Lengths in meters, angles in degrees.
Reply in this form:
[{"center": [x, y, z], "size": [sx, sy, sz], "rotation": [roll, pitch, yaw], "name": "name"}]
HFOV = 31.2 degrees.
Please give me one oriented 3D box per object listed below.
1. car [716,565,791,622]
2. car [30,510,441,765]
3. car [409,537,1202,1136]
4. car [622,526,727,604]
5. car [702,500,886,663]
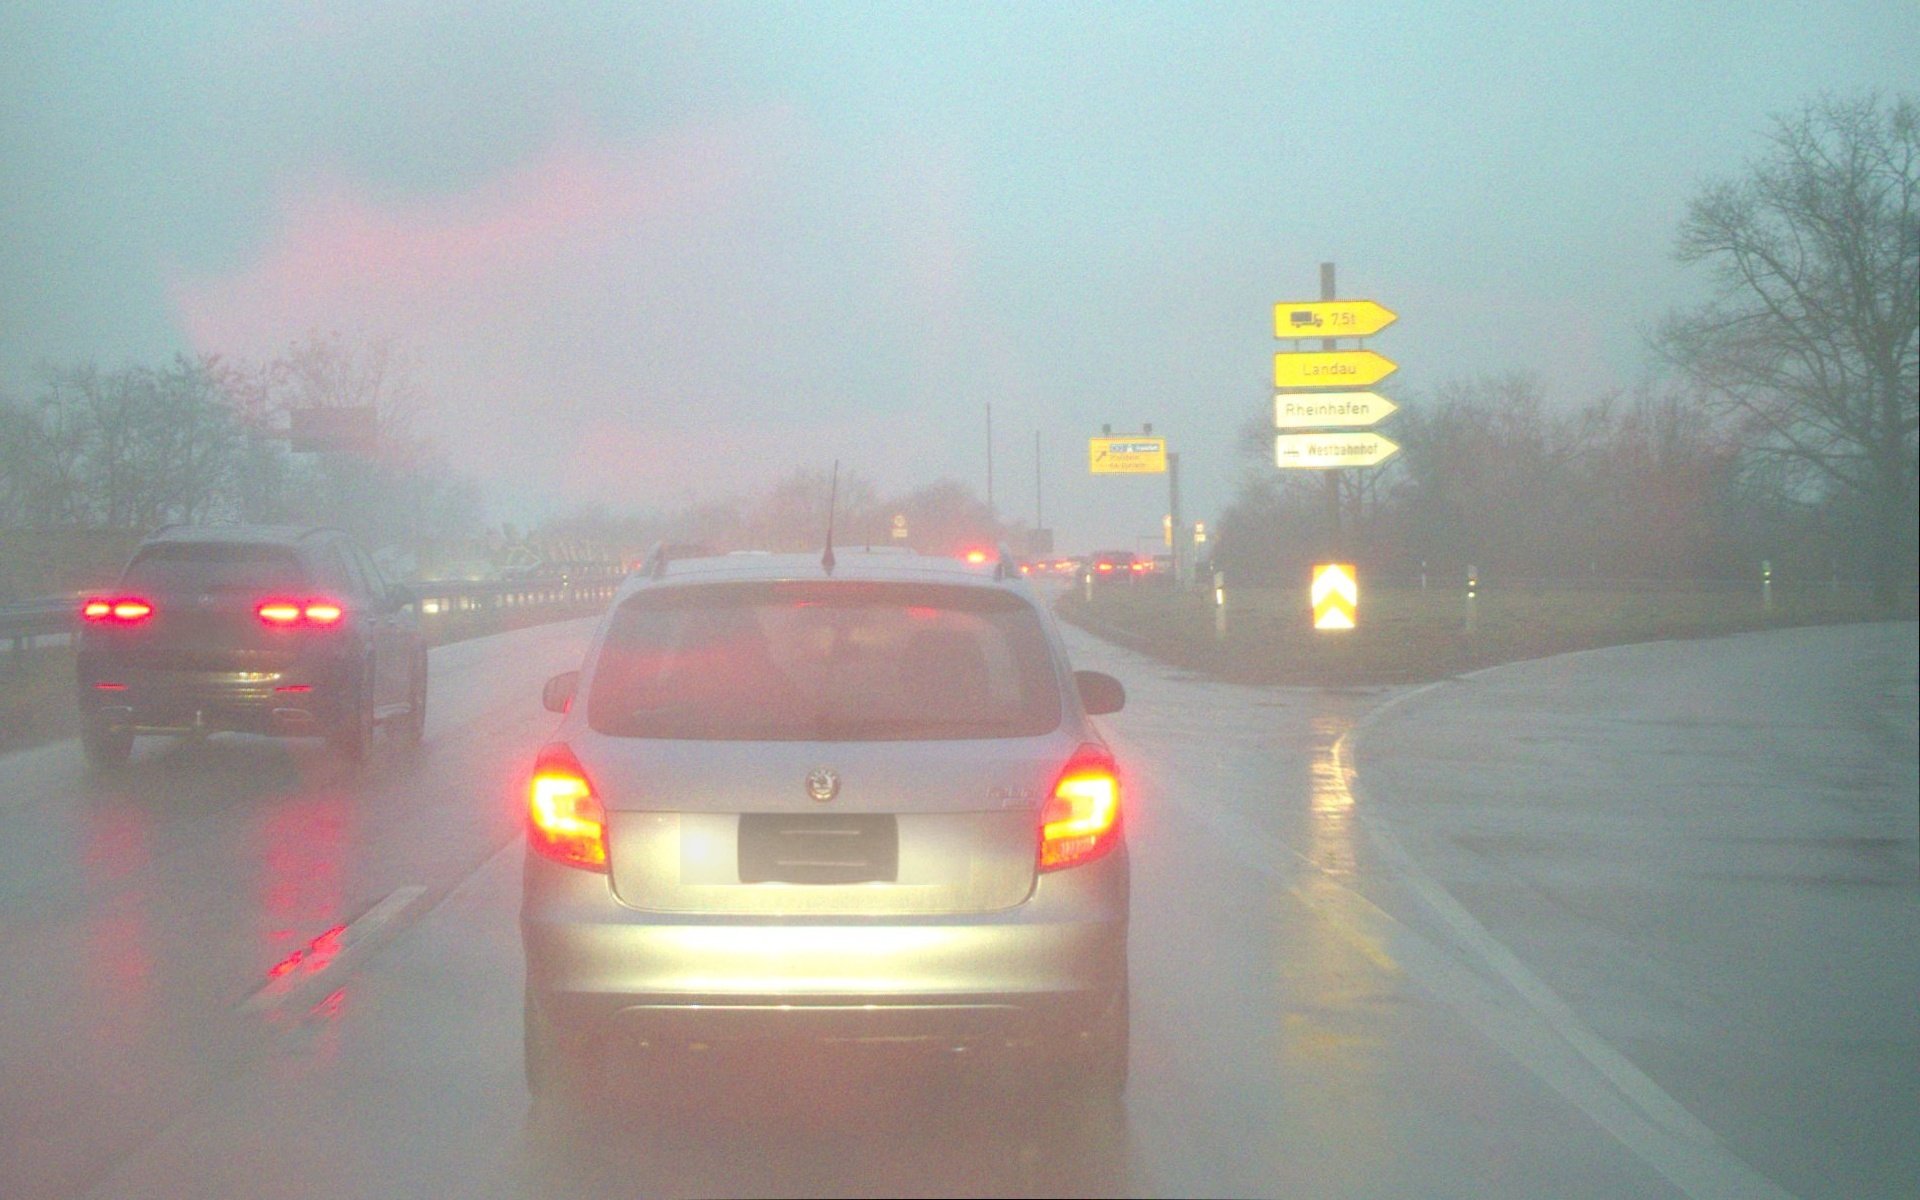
[{"center": [-5.775, -0.199, 96.619], "size": [1.789, 1.540, 4.000], "rotation": [-1, 1, 1], "name": "car"}, {"center": [-4.966, 0.209, 24.176], "size": [1.993, 1.596, 4.309], "rotation": [1, 1, -1], "name": "car"}, {"center": [-0.354, 0.587, 10.769], "size": [1.993, 1.495, 4.137], "rotation": [-1, 0, 1], "name": "car"}, {"center": [-5.977, -0.762, 72.323], "size": [1.789, 1.540, 4.000], "rotation": [-2, 1, 1], "name": "car"}, {"center": [-2.004, -0.249, 40.375], "size": [1.897, 1.761, 4.309], "rotation": [-2, 1, -6], "name": "car"}]
